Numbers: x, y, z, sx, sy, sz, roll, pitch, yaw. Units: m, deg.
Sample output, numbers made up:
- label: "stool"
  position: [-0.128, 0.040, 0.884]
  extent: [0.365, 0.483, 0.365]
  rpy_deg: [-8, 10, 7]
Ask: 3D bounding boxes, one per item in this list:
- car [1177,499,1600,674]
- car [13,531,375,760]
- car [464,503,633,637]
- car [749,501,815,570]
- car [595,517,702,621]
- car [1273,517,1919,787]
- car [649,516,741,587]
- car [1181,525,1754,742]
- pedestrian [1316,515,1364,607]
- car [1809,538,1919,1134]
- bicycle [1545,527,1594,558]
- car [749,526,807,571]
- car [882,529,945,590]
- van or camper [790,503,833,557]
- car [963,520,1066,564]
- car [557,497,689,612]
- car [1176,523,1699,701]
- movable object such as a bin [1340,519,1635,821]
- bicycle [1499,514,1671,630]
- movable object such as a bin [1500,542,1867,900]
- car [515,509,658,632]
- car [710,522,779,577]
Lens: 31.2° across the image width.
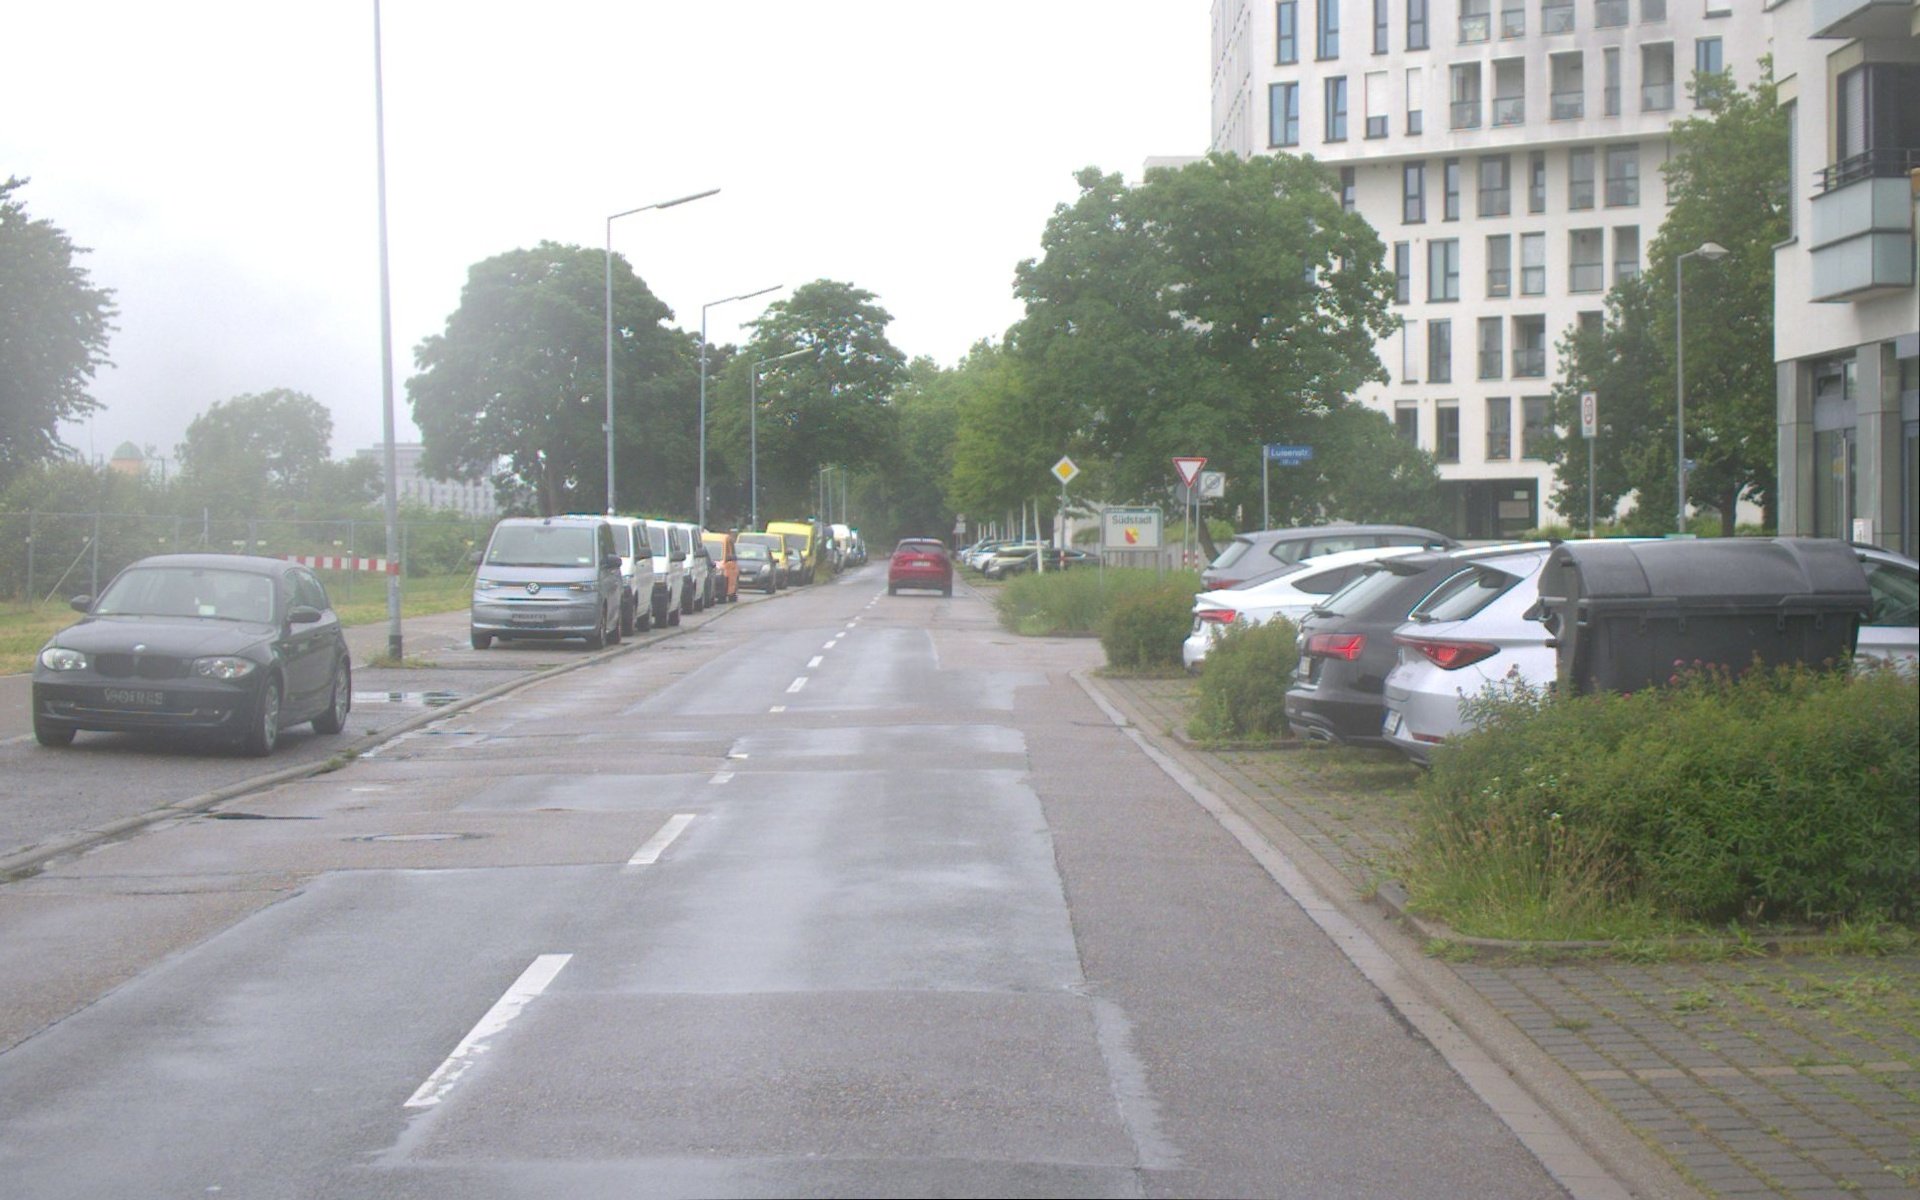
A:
- label: "car"
  position: [4.434, -0.152, 36.054]
  extent: [4.089, 1.618, 1.966]
  rpy_deg: [-2, 1, -2]
- label: "car"
  position: [-5.812, 0.286, 26.575]
  extent: [1.847, 1.556, 4.153]
  rpy_deg: [2, 1, 0]
- label: "car"
  position: [-6.087, -0.474, 51.362]
  extent: [1.956, 1.895, 4.995]
  rpy_deg: [0, 1, 0]
- label: "car"
  position: [-7.282, -2.653, 141.227]
  extent: [2.192, 2.685, 6.081]
  rpy_deg: [2, 1, 1]
- label: "car"
  position: [-6.889, -0.736, 76.524]
  extent: [1.942, 2.228, 5.558]
  rpy_deg: [0, 1, -1]
- label: "car"
  position: [4.092, 0.288, 21.420]
  extent: [4.060, 1.491, 2.058]
  rpy_deg: [-2, 1, 0]
- label: "car"
  position: [-6.733, -1.256, 87.691]
  extent: [1.940, 1.761, 4.331]
  rpy_deg: [0, 1, 1]
- label: "car"
  position: [3.762, 0.221, 25.989]
  extent: [3.987, 1.474, 1.879]
  rpy_deg: [-2, 1, -1]
- label: "pedestrian"
  position: [8.325, -0.860, 75.368]
  extent: [0.965, 2.007, 0.623]
  rpy_deg: [0, 1, 0]
- label: "car"
  position: [4.623, 0.533, 8.853]
  extent: [4.346, 1.525, 1.893]
  rpy_deg: [-2, 1, -1]
- label: "bicycle"
  position: [20.681, -1.960, 116.567]
  extent: [0.724, 1.029, 2.068]
  rpy_deg: [1, 1, 39]
- label: "car"
  position: [-6.850, -1.938, 129.577]
  extent: [1.993, 1.588, 5.018]
  rpy_deg: [2, 1, -2]
- label: "car"
  position: [-1.359, -1.178, 98.661]
  extent: [1.756, 1.700, 4.000]
  rpy_deg: [0, 1, -1]
- label: "van or camper"
  position: [-7.852, -3.675, 181.827]
  extent: [2.094, 2.706, 7.575]
  rpy_deg: [2, 0, -2]
- label: "car"
  position: [2.529, -2.689, 159.624]
  extent: [4.539, 1.679, 1.886]
  rpy_deg: [-5, 1, -3]
- label: "car"
  position: [-6.295, -0.886, 64.765]
  extent: [1.960, 2.051, 5.274]
  rpy_deg: [1, 1, 0]
- label: "car"
  position: [4.258, 0.088, 31.159]
  extent: [4.409, 1.400, 1.911]
  rpy_deg: [-2, 1, -1]
- label: "movable object such as a bin"
  position: [2.810, 0.343, 18.536]
  extent: [1.300, 1.521, 1.582]
  rpy_deg: [-2, 1, 0]
- label: "bicycle"
  position: [8.418, -0.375, 46.320]
  extent: [2.190, 1.517, 0.630]
  rpy_deg: [-1, 1, 20]
- label: "movable object such as a bin"
  position: [3.224, 0.506, 15.531]
  extent: [1.300, 1.521, 1.582]
  rpy_deg: [1, 1, 0]
- label: "car"
  position: [-6.350, -0.546, 59.004]
  extent: [1.895, 2.007, 5.258]
  rpy_deg: [0, 1, 0]
- label: "car"
  position: [-6.525, -1.549, 104.581]
  extent: [1.804, 1.556, 4.033]
  rpy_deg: [3, 1, 0]
